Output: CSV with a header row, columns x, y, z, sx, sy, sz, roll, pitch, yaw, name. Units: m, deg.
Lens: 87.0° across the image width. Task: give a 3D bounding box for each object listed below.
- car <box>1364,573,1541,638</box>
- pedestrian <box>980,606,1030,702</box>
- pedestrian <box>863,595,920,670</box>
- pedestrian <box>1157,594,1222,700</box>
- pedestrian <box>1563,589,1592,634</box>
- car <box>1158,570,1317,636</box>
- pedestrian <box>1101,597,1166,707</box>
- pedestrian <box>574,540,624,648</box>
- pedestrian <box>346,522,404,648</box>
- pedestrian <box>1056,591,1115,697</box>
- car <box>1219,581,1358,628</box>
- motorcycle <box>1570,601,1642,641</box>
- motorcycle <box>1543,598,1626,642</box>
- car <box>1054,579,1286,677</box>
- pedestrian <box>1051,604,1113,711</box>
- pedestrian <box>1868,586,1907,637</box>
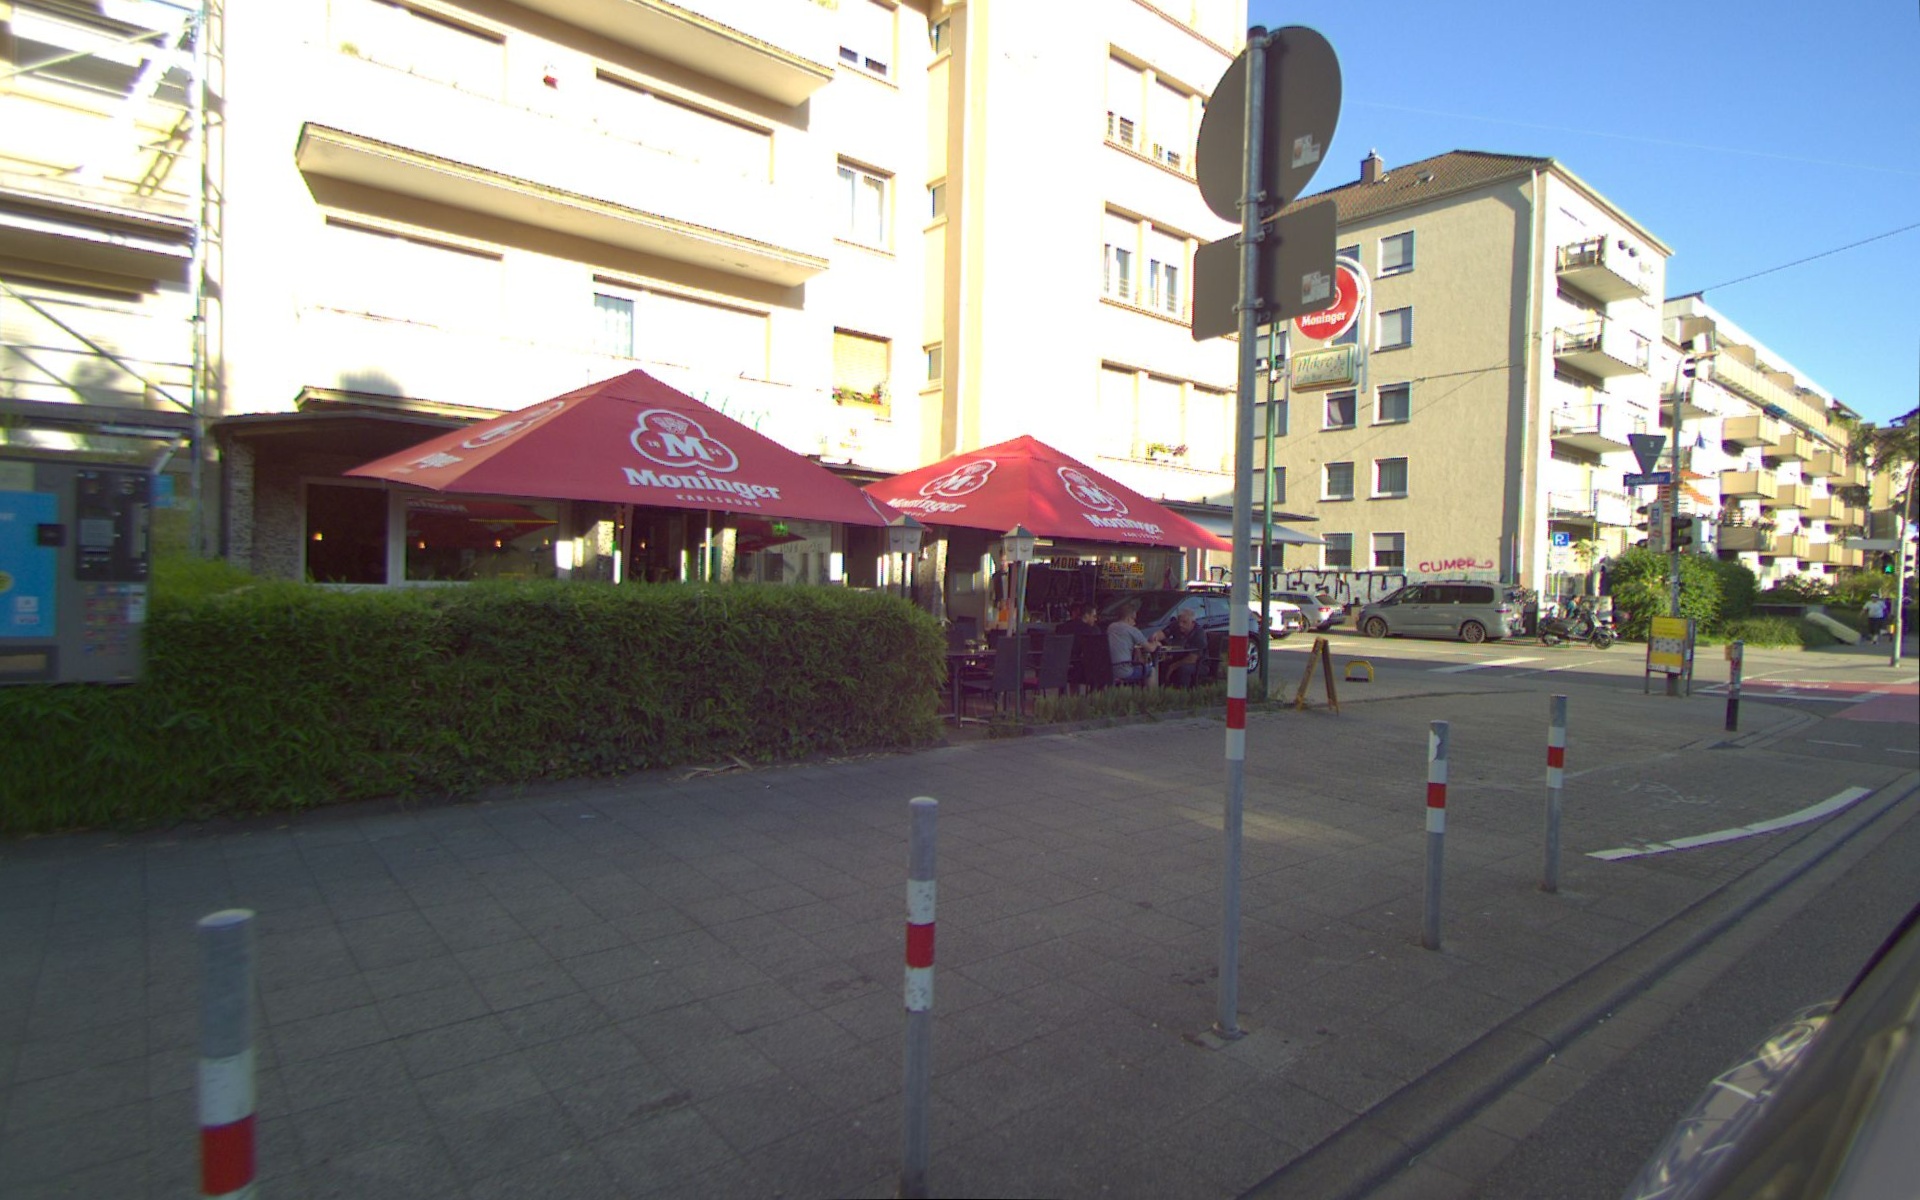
x,y,z,sx,sy,sz,roll,pitch,yaw,name
15.885,0.106,32.860,1.920,1.889,4.836,-2,3,-42,car
0.567,0.667,12.777,0.405,1.164,0.526,0,1,-34,pedestrian
-1.108,0.504,16.355,0.707,1.164,0.610,0,1,-38,pedestrian
2.635,0.522,11.611,0.620,1.164,0.413,0,1,-36,pedestrian
19.420,0.351,31.841,0.584,1.409,0.641,0,1,-41,pedestrian
8.323,0.029,30.690,1.918,1.861,4.350,0,1,-40,car
1.909,0.552,11.146,0.516,1.164,0.495,0,1,-36,pedestrian
-6.167,-0.106,17.290,0.672,1.798,0.525,0,0,-39,pedestrian
-8.598,-0.219,14.873,0.672,1.798,0.525,0,0,-39,pedestrian
1.585,0.542,12.811,0.530,1.299,0.525,0,1,-38,pedestrian
12.116,0.120,37.583,1.920,1.560,4.615,-2,3,-42,car
19.091,0.600,29.922,0.584,1.126,1.698,0,1,-39,motorcycle
18.152,0.558,29.435,1.981,1.216,0.764,1,1,38,motorcycle
3.759,0.415,17.797,4.129,1.503,1.832,0,1,-40,car
1.388,0.634,11.519,0.516,1.164,0.487,0,1,-36,pedestrian
31.686,0.377,34.586,0.648,1.703,0.831,0,2,-36,pedestrian
